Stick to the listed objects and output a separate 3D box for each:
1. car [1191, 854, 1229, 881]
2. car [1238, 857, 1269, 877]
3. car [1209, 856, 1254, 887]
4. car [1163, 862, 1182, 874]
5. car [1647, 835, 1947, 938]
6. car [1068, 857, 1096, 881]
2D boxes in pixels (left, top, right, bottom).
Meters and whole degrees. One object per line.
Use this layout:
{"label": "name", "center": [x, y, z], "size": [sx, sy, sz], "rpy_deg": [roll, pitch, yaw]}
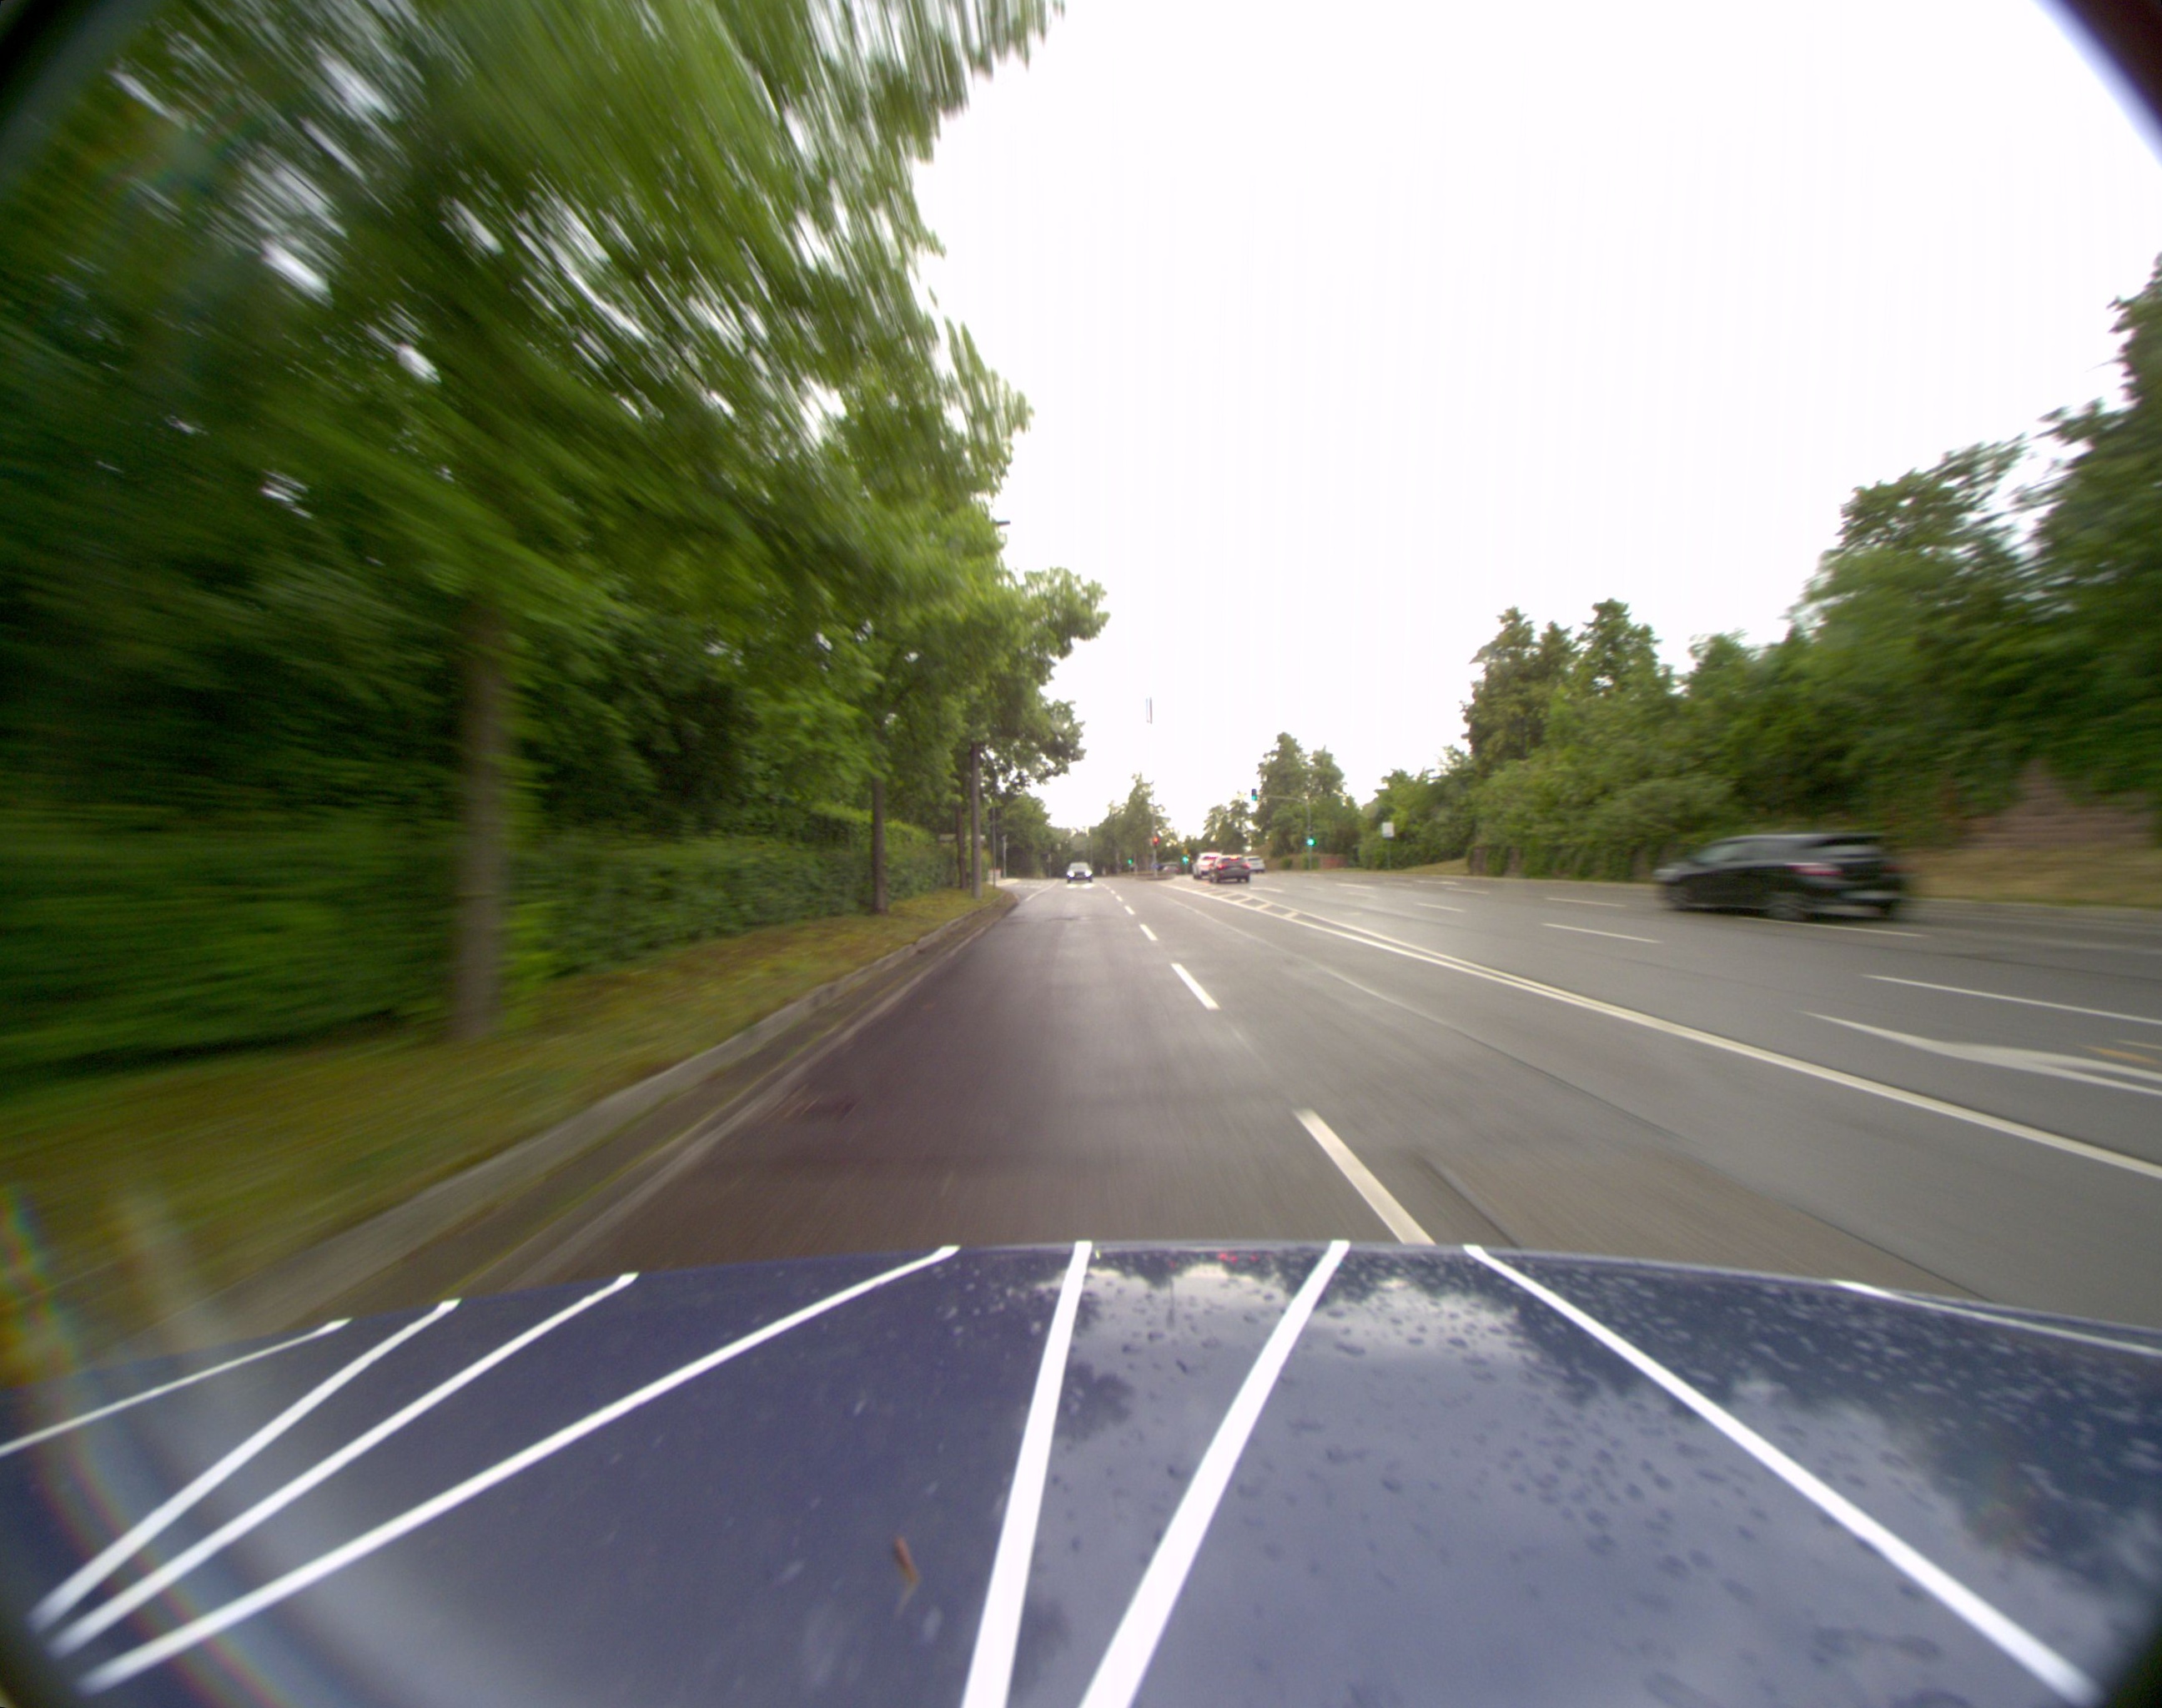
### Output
{"label": "car", "center": [8.496, 0.870, 50.333], "size": [1.890, 1.646, 4.451], "rpy_deg": [-3, 0, 3]}
{"label": "car", "center": [15.735, 1.126, 69.610], "size": [1.890, 1.646, 4.450], "rpy_deg": [-3, 0, 2]}
{"label": "car", "center": [8.101, 0.914, 41.271], "size": [1.781, 1.459, 3.998], "rpy_deg": [-3, 0, 3]}
{"label": "car", "center": [13.427, 2.054, 112.067], "size": [1.891, 1.646, 4.338], "rpy_deg": [-3, 0, -5]}
{"label": "car", "center": [12.218, 0.479, 13.381], "size": [1.679, 1.459, 3.862], "rpy_deg": [-4, 0, 2]}
{"label": "car", "center": [0.109, 1.039, 54.909], "size": [1.737, 1.577, 4.286], "rpy_deg": [-3, 0, 3]}
